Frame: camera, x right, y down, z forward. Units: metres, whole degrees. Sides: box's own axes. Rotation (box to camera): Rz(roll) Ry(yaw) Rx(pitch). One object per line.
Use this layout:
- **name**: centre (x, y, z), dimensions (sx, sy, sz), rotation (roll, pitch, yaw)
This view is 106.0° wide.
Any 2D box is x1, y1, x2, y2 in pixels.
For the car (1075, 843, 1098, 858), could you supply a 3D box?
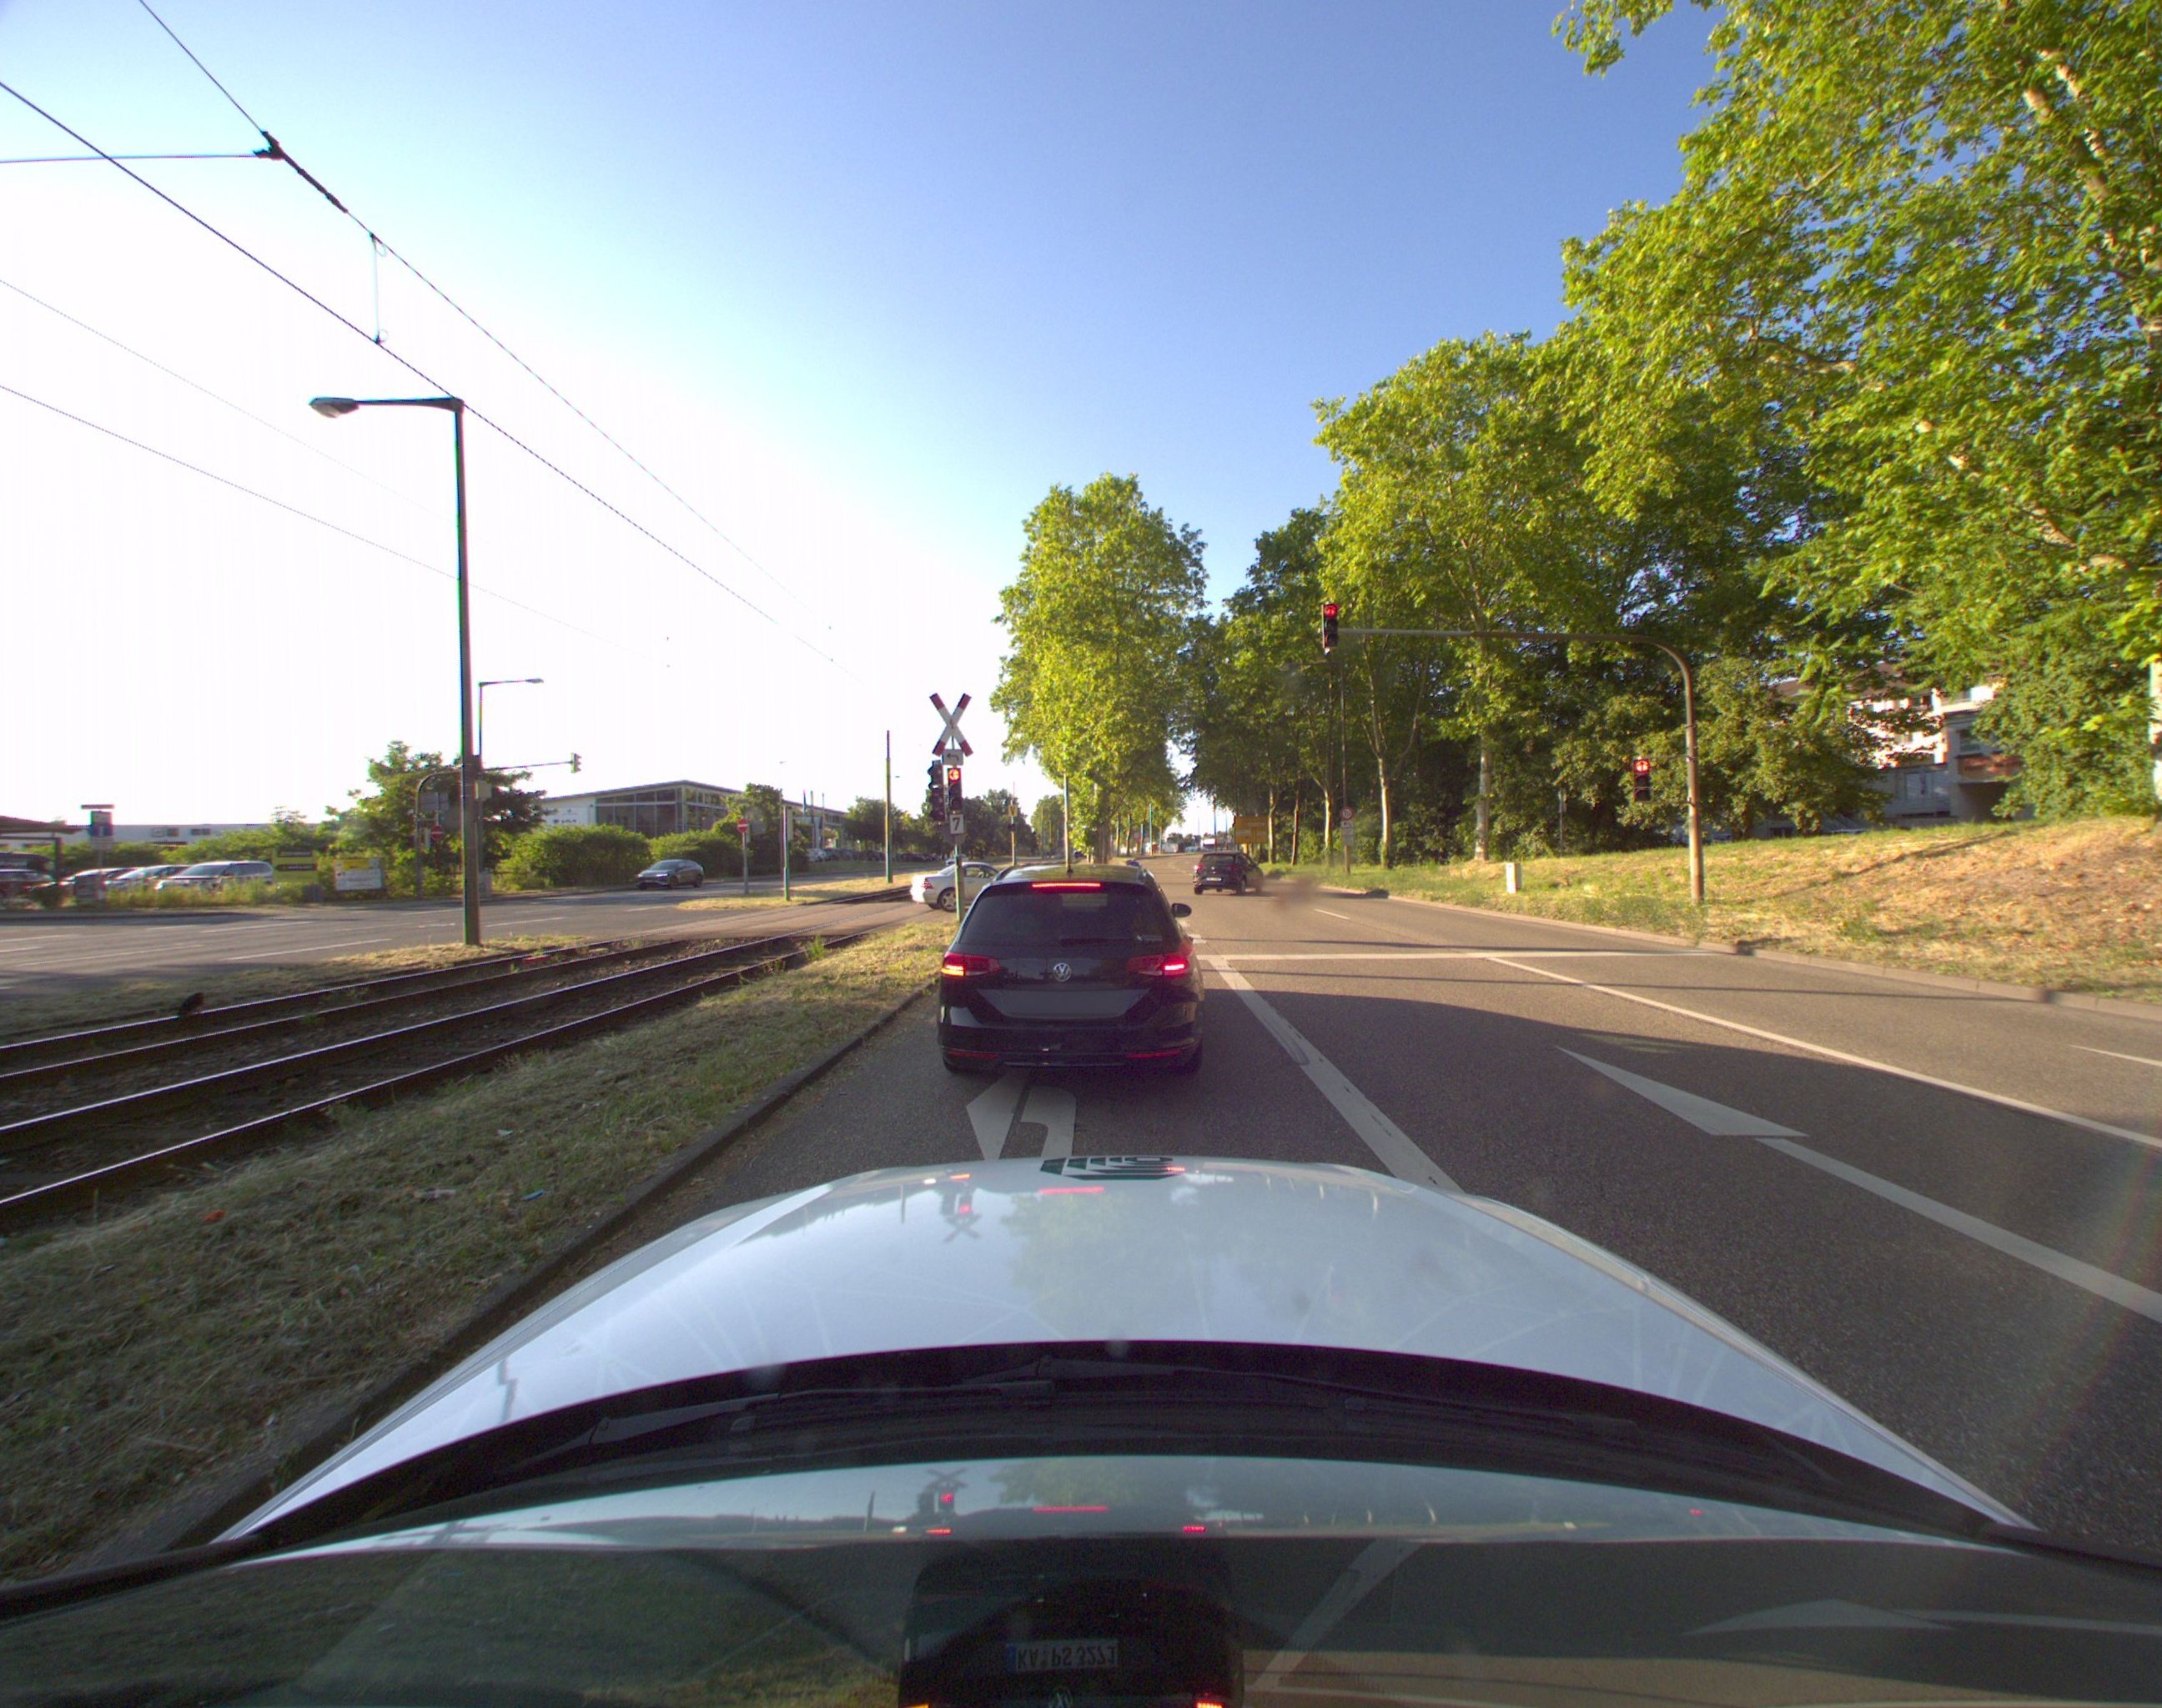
- **car**: centre (0.950, -0.592, 139.778), dimensions (2.078, 2.461, 5.881), rotation (0, 0, 19)

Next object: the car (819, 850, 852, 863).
- **car**: centre (-31.157, 0.308, 103.416), dimensions (3.999, 1.556, 1.732), rotation (-1, 0, -19)

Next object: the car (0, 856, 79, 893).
- **car**: centre (-60.424, 1.157, 45.901), dimensions (1.855, 2.014, 4.773), rotation (0, 0, 2)

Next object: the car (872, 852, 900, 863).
- **car**: centre (-30.126, 0.597, 125.945), dimensions (3.978, 1.621, 1.742), rotation (-1, 0, -3)

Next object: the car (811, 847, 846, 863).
- **car**: centre (-30.608, 0.135, 98.735), dimensions (3.999, 1.816, 1.732), rotation (-1, 0, -19)

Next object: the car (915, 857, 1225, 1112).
- **car**: centre (-0.019, 0.765, 6.522), dimensions (1.788, 1.464, 3.584), rotation (0, 0, 1)

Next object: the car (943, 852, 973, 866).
- **car**: centre (-14.390, 0.576, 95.546), dimensions (1.847, 1.481, 4.110), rotation (0, 0, 17)

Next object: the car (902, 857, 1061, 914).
- **car**: centre (-2.709, 0.808, 22.144), dimensions (3.987, 1.294, 1.602), rotation (-2, 1, -23)

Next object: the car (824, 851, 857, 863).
- **car**: centre (-31.371, 0.352, 106.206), dimensions (3.999, 1.556, 1.732), rotation (-1, 0, -19)

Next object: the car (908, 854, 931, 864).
- **car**: centre (-29.113, 0.876, 146.838), dimensions (3.978, 1.621, 1.742), rotation (-1, 0, -3)

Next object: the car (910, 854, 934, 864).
- **car**: centre (-29.265, 0.920, 150.006), dimensions (3.978, 1.621, 1.742), rotation (-1, 0, -3)

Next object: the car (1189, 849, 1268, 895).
- **car**: centre (5.470, 0.597, 29.794), dimensions (1.691, 1.561, 4.191), rotation (0, 0, 27)

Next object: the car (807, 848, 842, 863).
- **car**: centre (-31.651, 0.137, 100.516), dimensions (3.999, 1.816, 1.732), rotation (-1, 0, -19)

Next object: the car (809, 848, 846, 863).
- **car**: centre (-29.267, 0.152, 94.112), dimensions (3.999, 1.704, 1.732), rotation (-1, 0, -19)

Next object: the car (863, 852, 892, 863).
- **car**: centre (-30.614, 0.553, 122.744), dimensions (3.978, 1.621, 1.742), rotation (-1, 0, -3)

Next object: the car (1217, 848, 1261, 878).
- **car**: centre (9.182, 0.537, 47.647), dimensions (1.864, 1.635, 4.373), rotation (-1, 0, 3)

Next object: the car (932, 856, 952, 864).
- **car**: centre (-28.821, 1.194, 168.918), dimensions (3.977, 1.556, 1.742), rotation (-1, 0, -2)

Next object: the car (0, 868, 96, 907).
- **car**: centre (-47.162, 1.456, 36.042), dimensions (1.970, 1.583, 4.174), rotation (0, 0, 2)

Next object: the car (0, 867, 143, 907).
- **car**: centre (-44.712, 1.407, 35.889), dimensions (1.855, 1.583, 4.174), rotation (0, 0, 2)

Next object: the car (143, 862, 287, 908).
- **car**: centre (-38.525, 1.326, 36.408), dimensions (1.855, 1.821, 4.174), rotation (0, 0, 2)

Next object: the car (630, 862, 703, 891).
- **car**: centre (-23.636, 1.244, 46.594), dimensions (1.854, 1.481, 4.176), rotation (0, 0, 3)

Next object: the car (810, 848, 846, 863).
- **car**: centre (-29.956, 0.170, 96.381), dimensions (3.999, 1.704, 1.732), rotation (-1, 0, -19)

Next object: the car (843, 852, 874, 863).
- **car**: centre (-31.444, 0.483, 115.311), dimensions (3.983, 1.556, 1.739), rotation (-1, 0, -7)

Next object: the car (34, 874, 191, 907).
- **car**: centre (-42.473, 1.567, 35.886), dimensions (1.855, 1.267, 4.174), rotation (0, 0, 2)

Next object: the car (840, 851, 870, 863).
- **car**: centre (-31.235, 0.445, 112.605), dimensions (3.999, 1.556, 1.732), rotation (-1, 0, -19)
